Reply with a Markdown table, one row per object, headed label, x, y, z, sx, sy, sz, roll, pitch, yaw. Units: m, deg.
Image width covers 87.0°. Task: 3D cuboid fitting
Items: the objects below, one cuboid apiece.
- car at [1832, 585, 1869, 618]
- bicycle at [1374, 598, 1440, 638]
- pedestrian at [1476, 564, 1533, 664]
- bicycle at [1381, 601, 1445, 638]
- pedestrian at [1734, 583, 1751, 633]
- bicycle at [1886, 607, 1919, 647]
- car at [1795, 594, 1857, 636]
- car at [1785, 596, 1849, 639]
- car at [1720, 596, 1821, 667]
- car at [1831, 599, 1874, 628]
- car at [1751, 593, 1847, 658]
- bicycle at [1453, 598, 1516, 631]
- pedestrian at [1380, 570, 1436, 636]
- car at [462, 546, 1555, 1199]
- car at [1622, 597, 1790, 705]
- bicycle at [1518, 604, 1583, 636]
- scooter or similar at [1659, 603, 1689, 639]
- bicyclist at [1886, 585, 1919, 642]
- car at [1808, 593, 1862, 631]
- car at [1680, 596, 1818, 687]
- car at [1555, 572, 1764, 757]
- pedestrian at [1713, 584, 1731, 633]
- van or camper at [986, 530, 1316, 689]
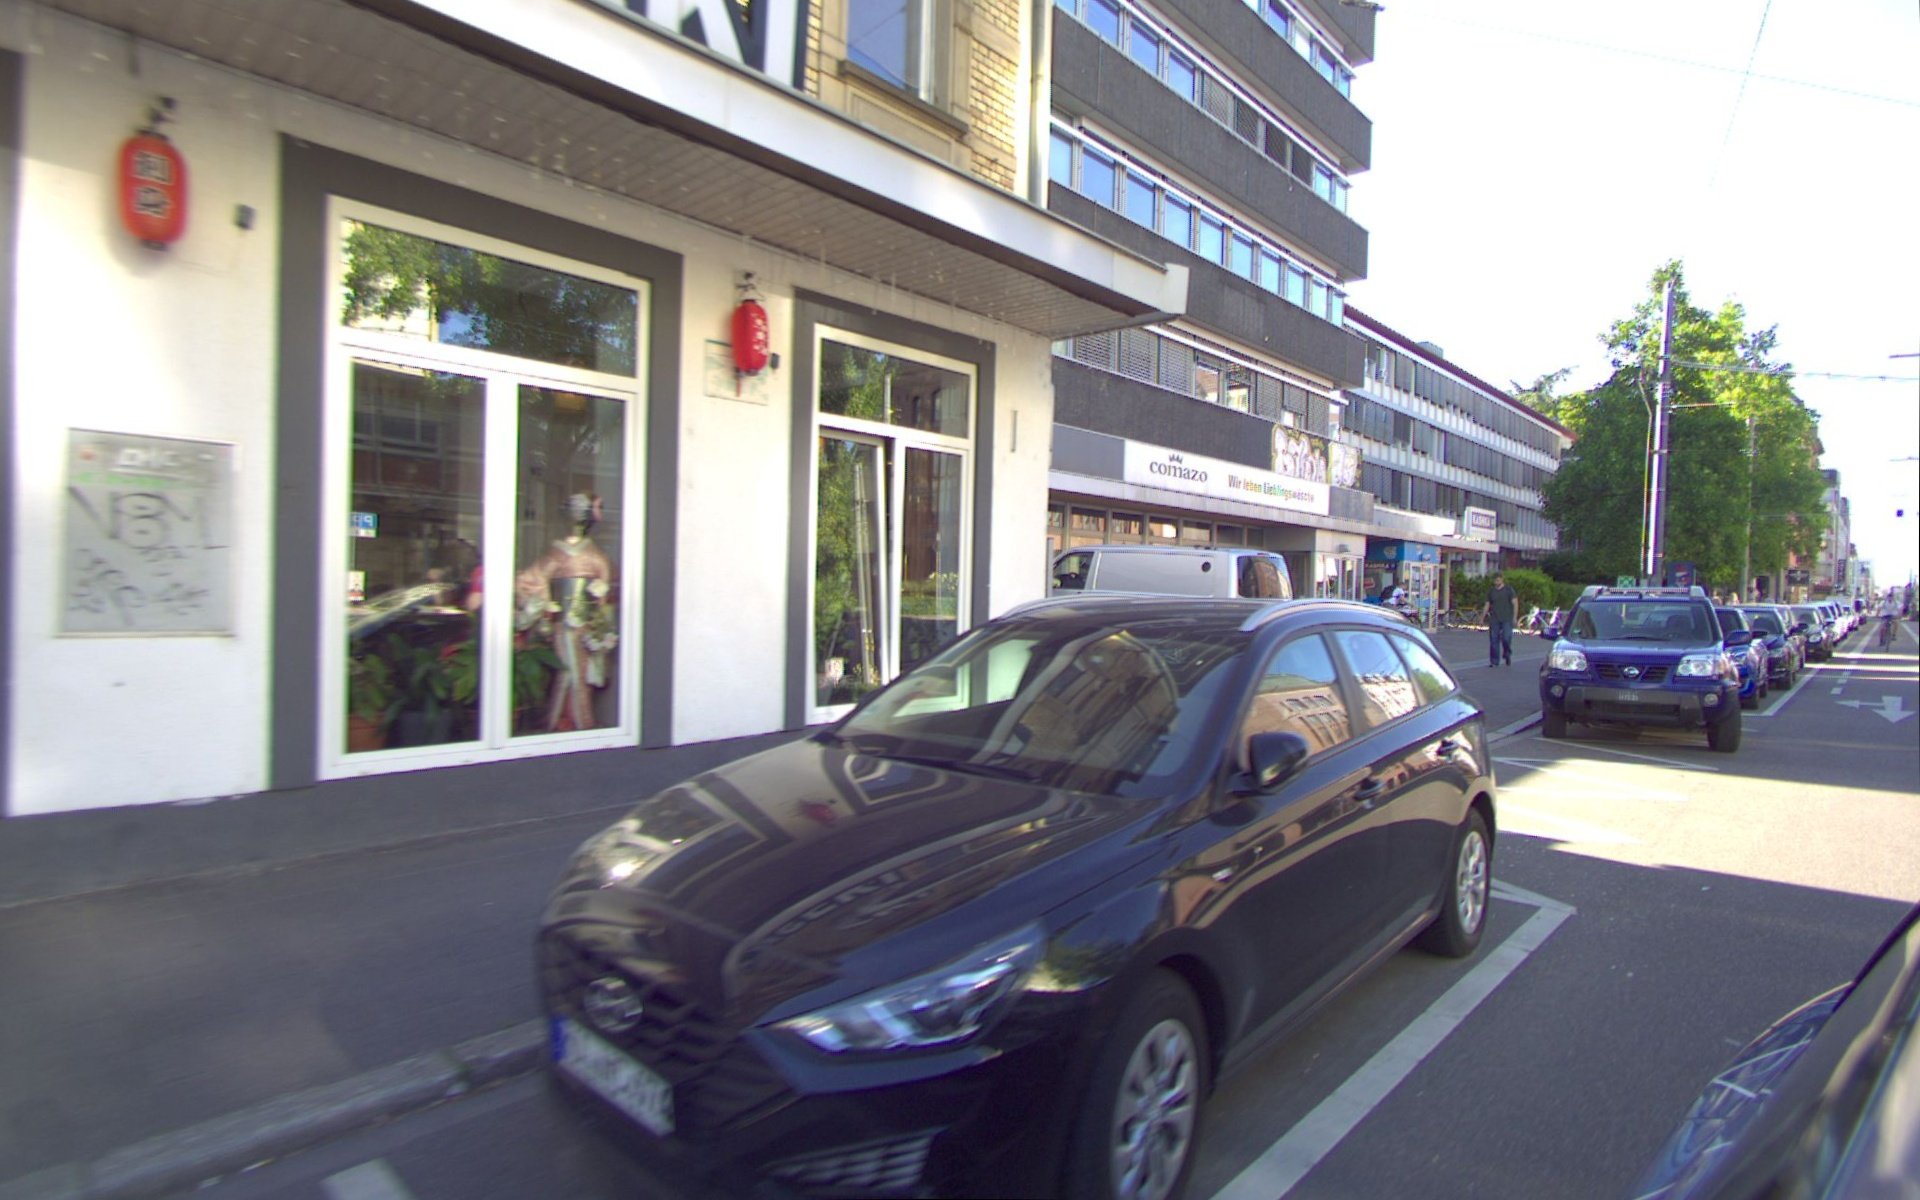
| label | x | y | z | sx | sy | sz | roll | pitch | yaw |
| --- | --- | --- | --- | --- | --- | --- | --- | --- | --- |
| car | 59.379 | 0.092 | 67.480 | 1.728 | 2.075 | 4.052 | 0 | 1 | 43 |
| bicycle | 12.156 | 0.482 | 27.557 | 1.572 | 0.932 | 0.334 | 7 | 5 | 43 |
| pedestrian | 10.849 | 0.256 | 20.156 | 1.045 | 1.935 | 0.685 | -1 | 0 | -44 |
| bicycle | 12.511 | 0.530 | 27.978 | 1.571 | 0.933 | 0.334 | 3 | 3 | 44 |
| pedestrian | 32.273 | 0.336 | 41.729 | 0.506 | 2.039 | 0.565 | -1 | 0 | 44 |
| bicycle | 30.345 | 0.848 | 32.478 | 0.887 | 1.176 | 2.046 | 0 | 1 | 43 |
| car | 35.201 | 0.569 | 41.107 | 1.728 | 1.597 | 4.052 | 0 | 1 | 43 |
| car | 31.777 | 0.617 | 37.490 | 1.727 | 1.502 | 3.806 | 0 | 0 | 41 |
| car | 18.692 | 0.664 | 23.296 | 1.570 | 1.502 | 3.502 | 0 | 0 | 43 |
| car | 50.508 | 0.741 | 57.249 | 1.728 | 1.501 | 4.052 | 0 | 1 | 43 |
| car | 22.876 | 0.625 | 27.522 | 1.728 | 1.501 | 4.853 | 0 | 1 | 43 |
| bicycle | 18.129 | 0.476 | 35.027 | 1.804 | 0.977 | 0.563 | 6 | 5 | 44 |
| pedestrian | 12.061 | 0.060 | 27.238 | 1.011 | 1.667 | 0.902 | 7 | 6 | 44 |
| car | 0.714 | 0.652 | 3.746 | 1.689 | 1.469 | 4.292 | 0 | 0 | 43 |
| car | 11.760 | 0.690 | 15.872 | 1.713 | 1.473 | 3.719 | 0 | 0 | 43 |
| bicycle | 19.983 | 0.666 | 34.270 | 1.808 | 0.933 | 0.400 | 5 | 4 | 41 |
| scooter or similar | 25.592 | 0.741 | 36.263 | 0.581 | 1.224 | 1.292 | 7 | 5 | 44 |
| bicyclist | 30.421 | 0.434 | 32.554 | 0.893 | 1.787 | 1.014 | 0 | 0 | 44 |
| car | 39.010 | 0.509 | 45.152 | 1.727 | 1.615 | 4.055 | 0 | 0 | 41 |
| car | 14.938 | 0.689 | 19.072 | 1.698 | 1.501 | 4.161 | 0 | 0 | 43 |
| car | 8.196 | 0.594 | 11.844 | 1.685 | 1.735 | 4.555 | 0 | 0 | 36 |
| pedestrian | 31.816 | 0.355 | 42.259 | 0.506 | 2.039 | 0.565 | -1 | 0 | 44 |
| van or camper | 2.759 | 0.017 | 15.590 | 1.966 | 1.956 | 4.702 | 1 | 4 | -42 |
